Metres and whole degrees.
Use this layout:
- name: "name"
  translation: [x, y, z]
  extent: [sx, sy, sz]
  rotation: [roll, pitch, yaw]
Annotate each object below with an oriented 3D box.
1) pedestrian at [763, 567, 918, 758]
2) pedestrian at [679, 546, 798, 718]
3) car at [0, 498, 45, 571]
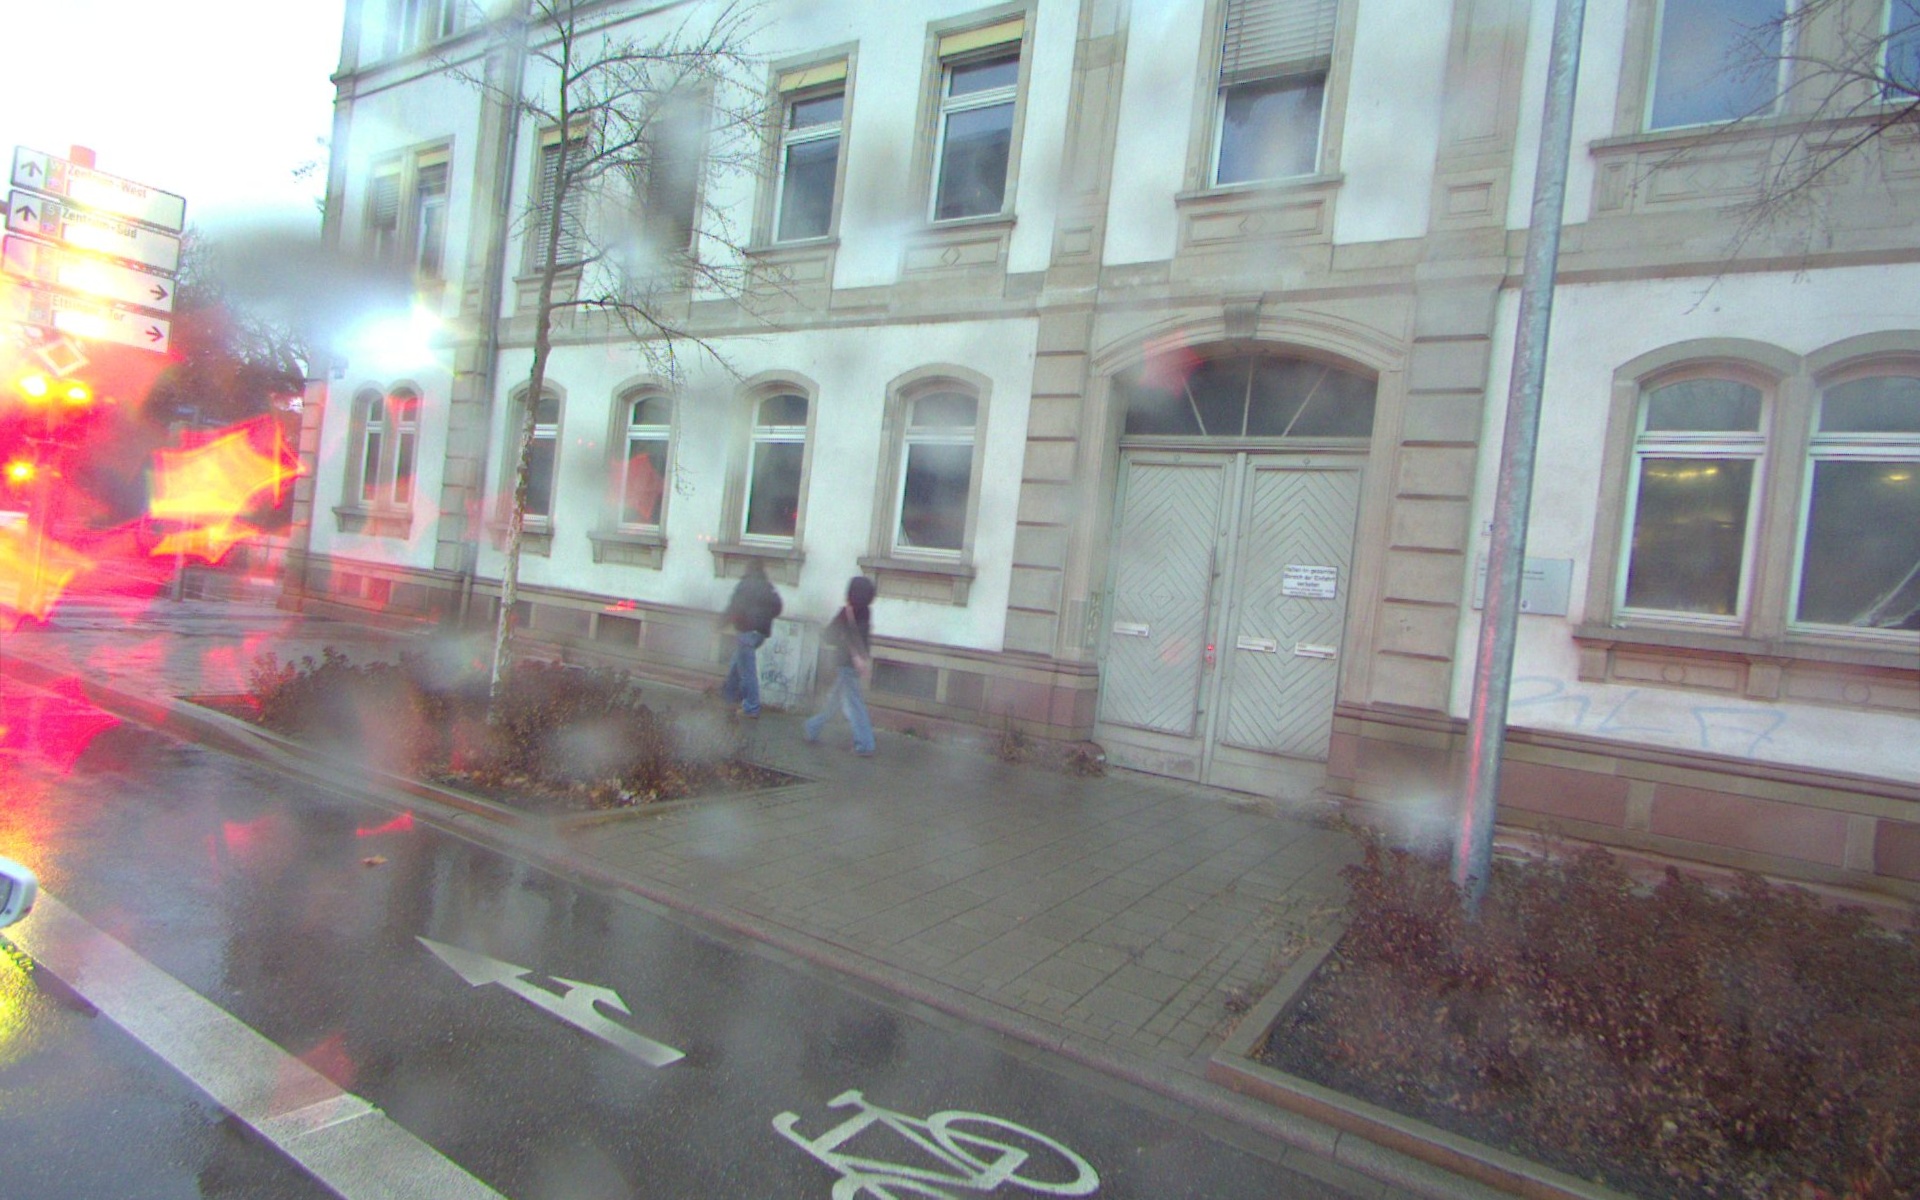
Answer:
- name: "pedestrian"
  translation: [-1.086, 0.557, 9.197]
  extent: [0.914, 1.564, 0.869]
  rotation: [7, 1, 32]
- name: "pedestrian"
  translation: [-2.344, 0.344, 10.708]
  extent: [0.694, 1.694, 0.870]
  rotation: [7, 1, 24]
- name: "car"
  translation: [-23.323, -1.721, 22.519]
  extent: [4.080, 1.546, 1.818]
  rotation: [8, -2, -43]
